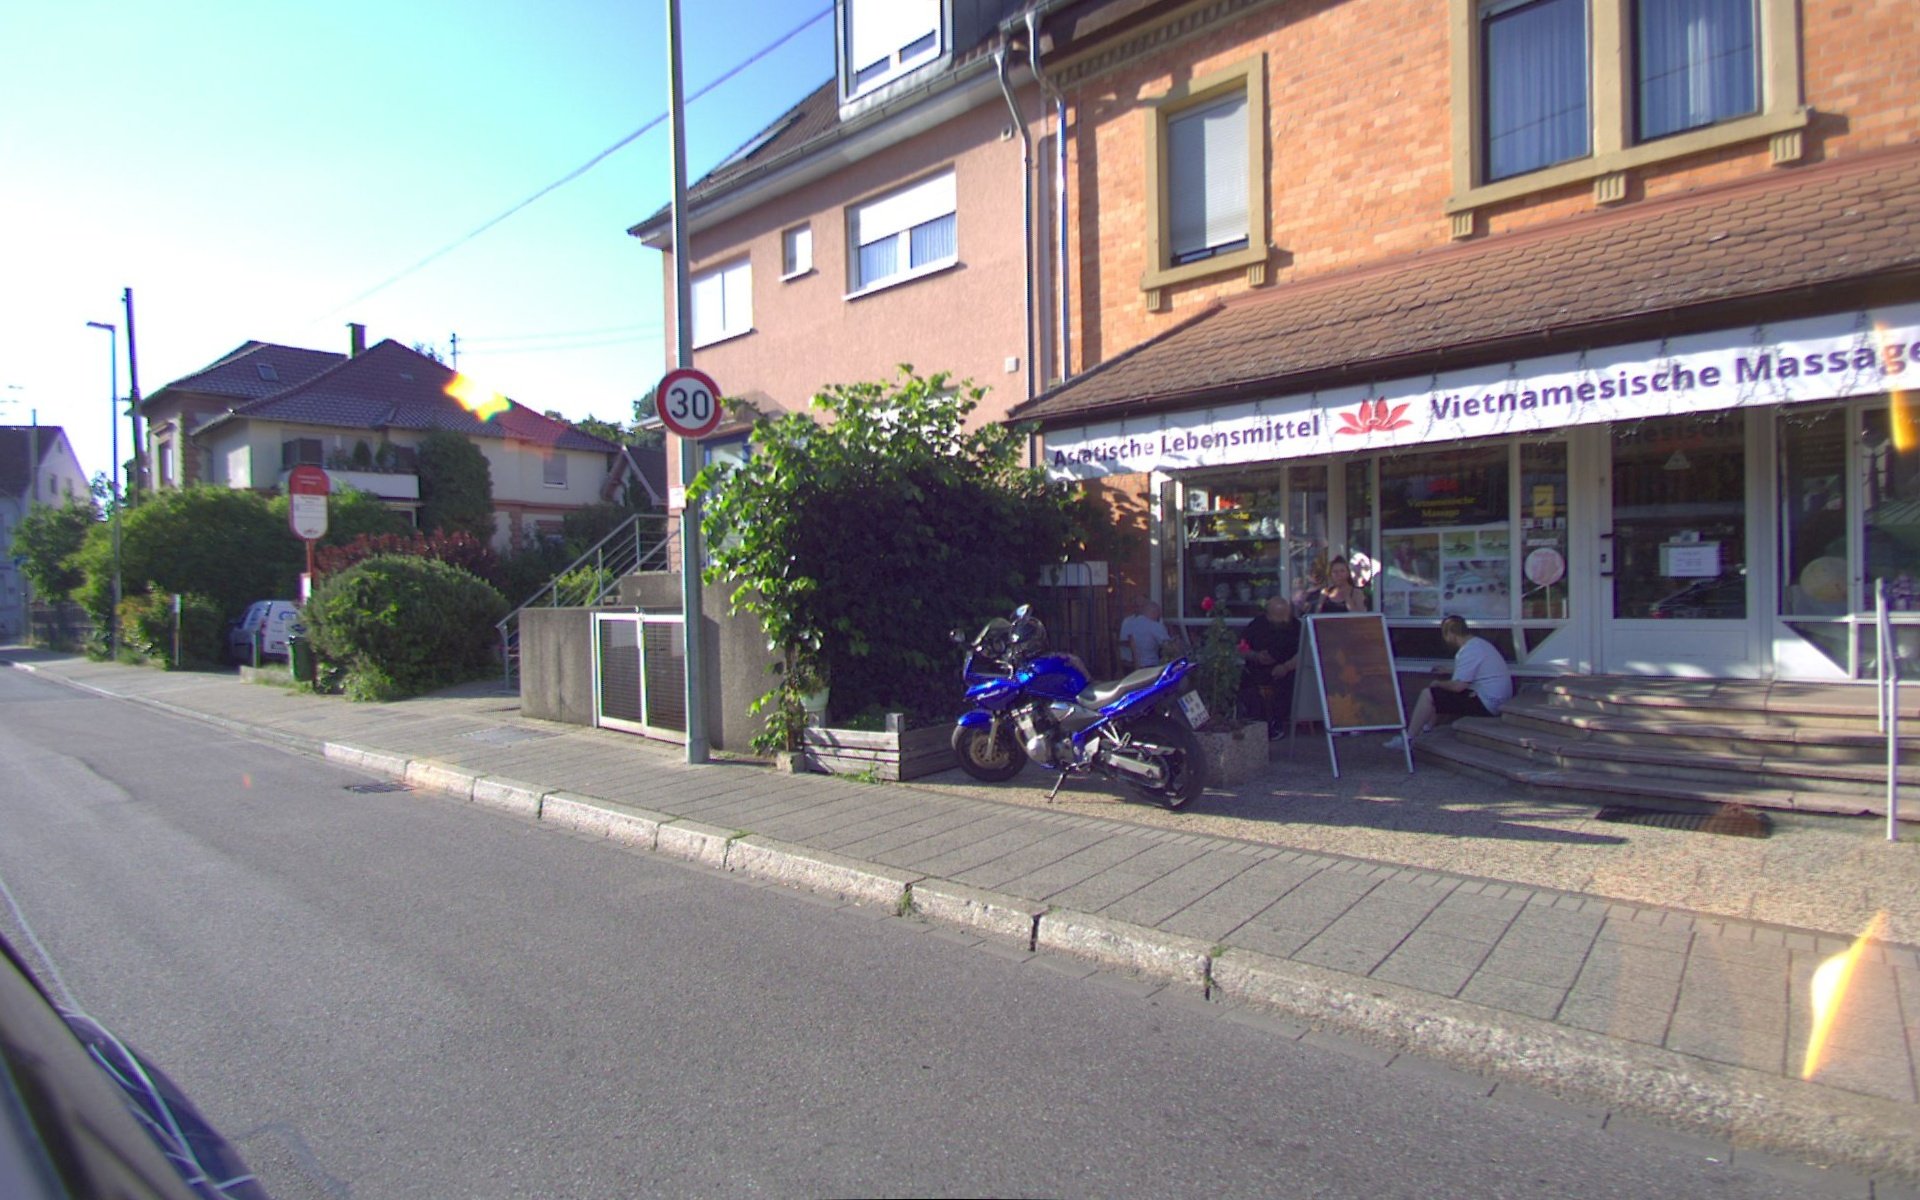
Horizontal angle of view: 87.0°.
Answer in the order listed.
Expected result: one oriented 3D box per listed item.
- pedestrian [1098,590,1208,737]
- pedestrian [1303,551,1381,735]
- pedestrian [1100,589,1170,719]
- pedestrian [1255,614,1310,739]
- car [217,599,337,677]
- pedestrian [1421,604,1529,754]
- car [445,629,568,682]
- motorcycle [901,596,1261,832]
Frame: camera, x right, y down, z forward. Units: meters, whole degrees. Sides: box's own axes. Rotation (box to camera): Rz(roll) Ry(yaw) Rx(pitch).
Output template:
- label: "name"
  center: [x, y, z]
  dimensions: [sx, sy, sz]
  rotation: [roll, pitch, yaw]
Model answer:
- label: "pedestrian"
  center: [1.757, 0.547, 9.211]
  dimensions: [0.667, 1.253, 0.736]
  rotation: [-2, 0, 44]
- label: "pedestrian"
  center: [3.389, 0.367, 8.977]
  dimensions: [0.503, 1.572, 0.459]
  rotation: [0, 0, 43]
- label: "pedestrian"
  center: [1.769, 0.529, 10.251]
  dimensions: [0.465, 1.268, 0.517]
  rotation: [-2, 0, 43]
- label: "pedestrian"
  center: [2.888, 0.667, 9.040]
  dimensions: [0.382, 1.055, 0.520]
  rotation: [-2, 0, 25]
- label: "car"
  center: [-17.958, 0.996, 26.558]
  dimensions: [3.671, 1.828, 1.682]
  rotation: [-1, -6, 43]
- label: "pedestrian"
  center: [4.116, 0.605, 8.088]
  dimensions: [0.632, 1.118, 0.557]
  rotation: [-2, 0, 42]
- label: "car"
  center: [-14.001, 1.680, 31.167]
  dimensions: [3.786, 1.529, 1.824]
  rotation: [-1, -3, 37]
- label: "motorcycle"
  center: [0.733, 0.652, 6.667]
  dimensions: [2.229, 1.292, 0.831]
  rotation: [-1, 1, 39]
